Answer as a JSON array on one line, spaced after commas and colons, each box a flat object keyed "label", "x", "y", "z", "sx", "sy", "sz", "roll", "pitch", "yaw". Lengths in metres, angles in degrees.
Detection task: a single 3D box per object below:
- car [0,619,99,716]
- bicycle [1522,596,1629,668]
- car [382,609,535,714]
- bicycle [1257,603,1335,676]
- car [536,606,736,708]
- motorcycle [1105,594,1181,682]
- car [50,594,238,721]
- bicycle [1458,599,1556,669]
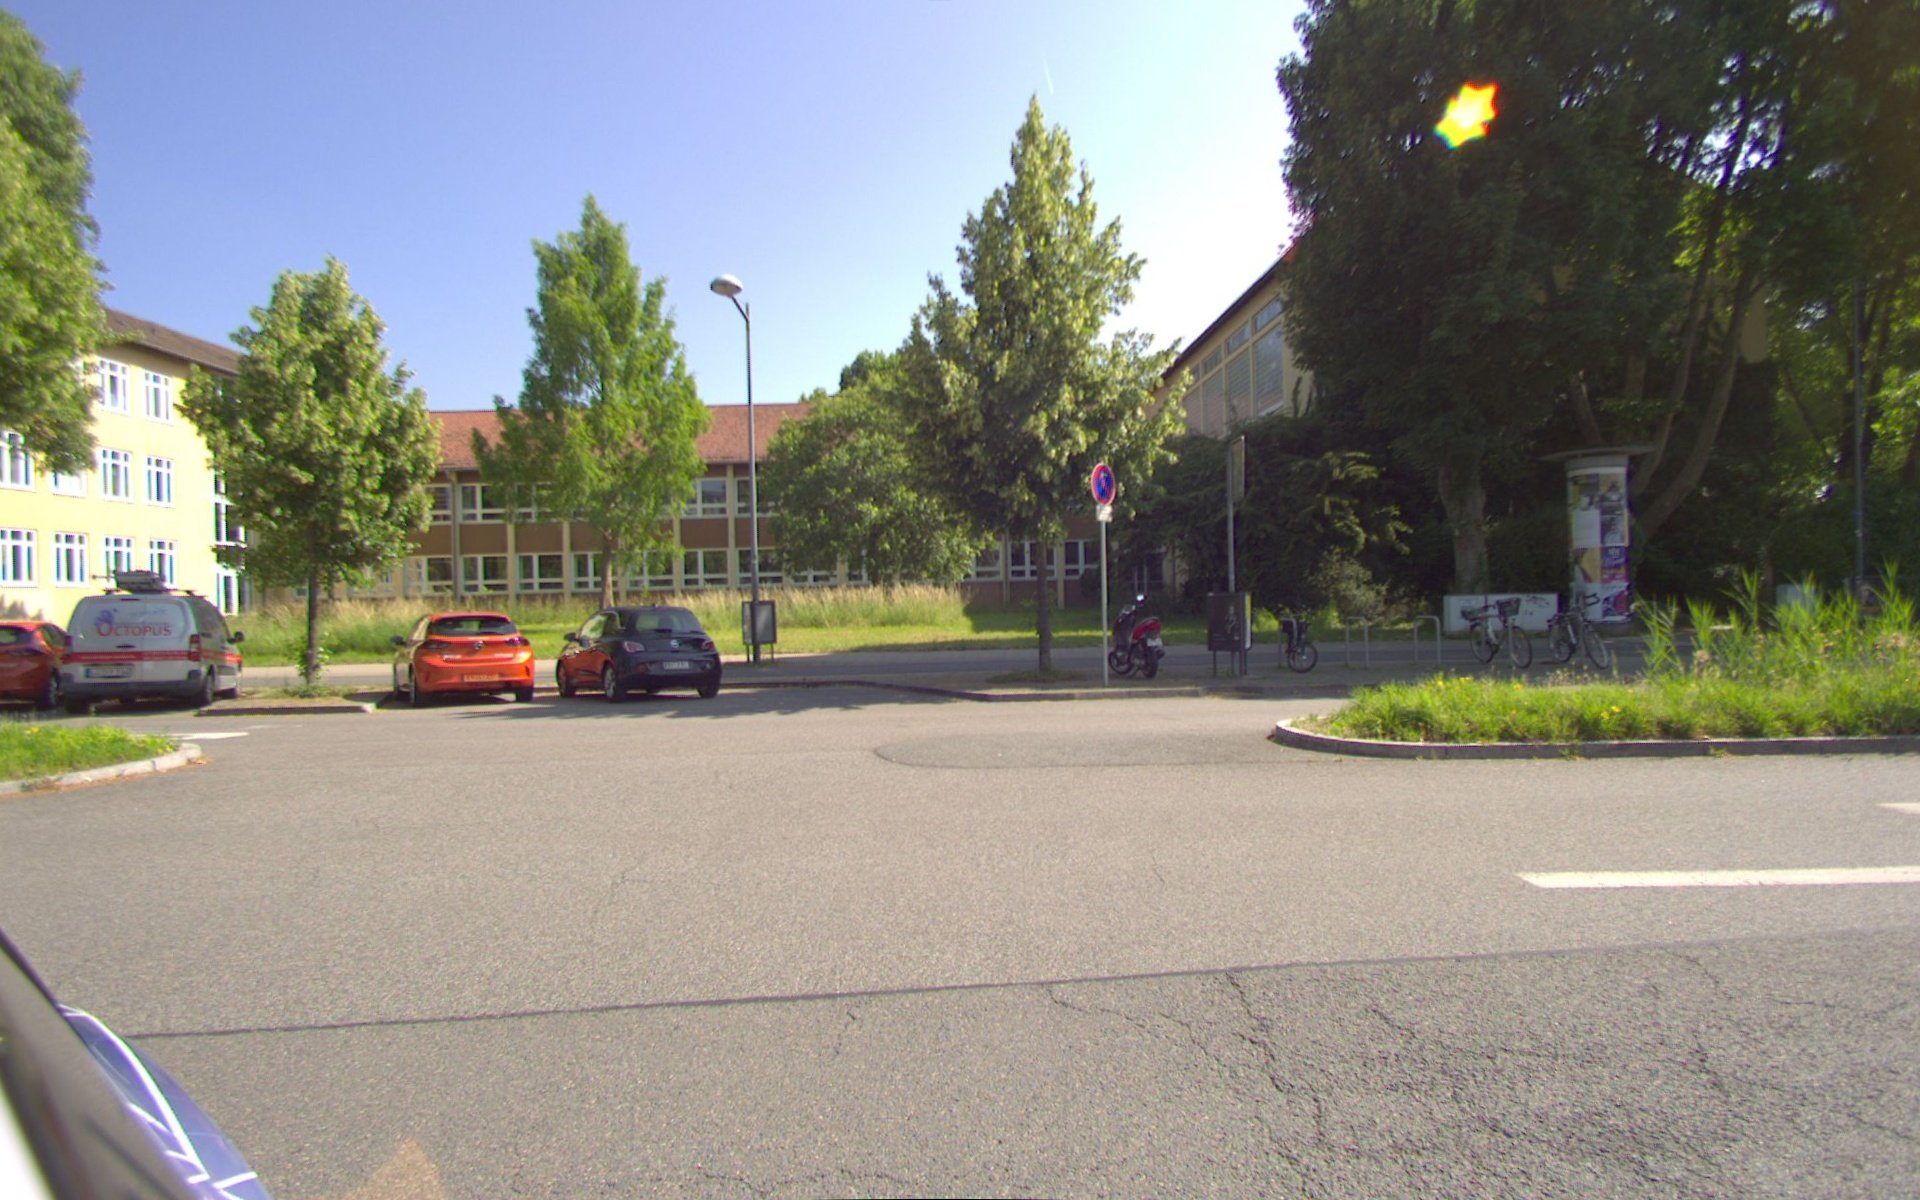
[{"label": "car", "x": -15.701, "y": 1.083, "z": 16.518, "sx": 1.824, "sy": 1.438, "sz": 3.786, "roll": -2, "pitch": -1, "yaw": -30}, {"label": "bicycle", "x": 10.295, "y": 0.505, "z": 17.002, "sx": 0.683, "sy": 1.130, "sz": 1.850, "roll": -1, "pitch": 0, "yaw": 2}, {"label": "car", "x": -8.174, "y": 0.895, "z": 16.323, "sx": 1.687, "sy": 1.434, "sz": 3.852, "roll": -1, "pitch": 0, "yaw": -34}, {"label": "bicycle", "x": 5.497, "y": 0.619, "z": 16.649, "sx": 0.683, "sy": 1.100, "sz": 1.850, "roll": -1, "pitch": 0, "yaw": 2}, {"label": "car", "x": -5.298, "y": 0.860, "z": 16.262, "sx": 1.826, "sy": 1.434, "sz": 3.781, "roll": 0, "pitch": -2, "yaw": -39}, {"label": "motorcycle", "x": 2.875, "y": 0.568, "z": 16.091, "sx": 0.682, "sy": 1.294, "sz": 1.854, "roll": -1, "pitch": 0, "yaw": -6}, {"label": "car", "x": -13.069, "y": 0.832, "z": 16.455, "sx": 1.788, "sy": 1.785, "sz": 3.786, "roll": -1, "pitch": 0, "yaw": -30}, {"label": "bicycle", "x": 9.242, "y": 0.544, "z": 17.181, "sx": 0.683, "sy": 1.114, "sz": 1.850, "roll": -1, "pitch": 0, "yaw": 2}]
